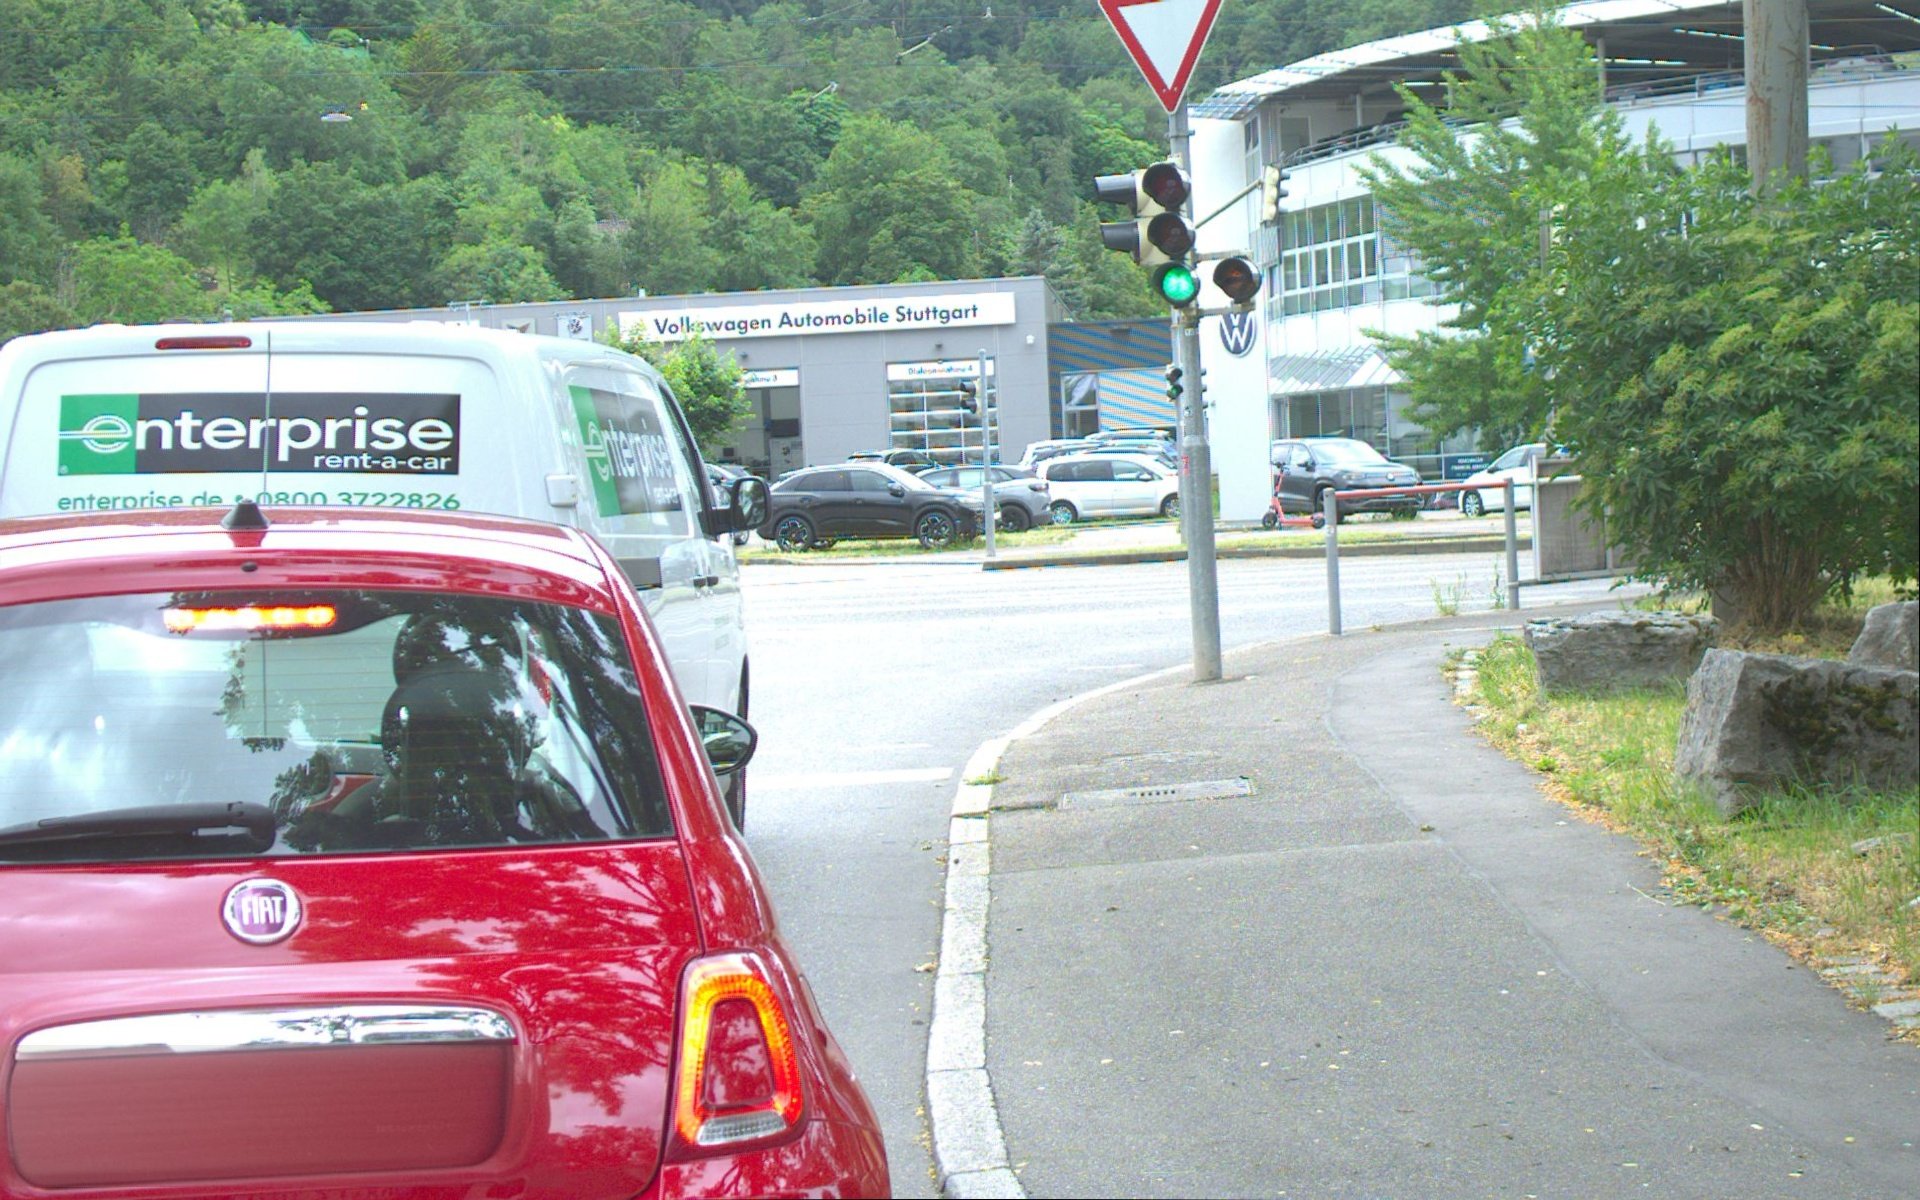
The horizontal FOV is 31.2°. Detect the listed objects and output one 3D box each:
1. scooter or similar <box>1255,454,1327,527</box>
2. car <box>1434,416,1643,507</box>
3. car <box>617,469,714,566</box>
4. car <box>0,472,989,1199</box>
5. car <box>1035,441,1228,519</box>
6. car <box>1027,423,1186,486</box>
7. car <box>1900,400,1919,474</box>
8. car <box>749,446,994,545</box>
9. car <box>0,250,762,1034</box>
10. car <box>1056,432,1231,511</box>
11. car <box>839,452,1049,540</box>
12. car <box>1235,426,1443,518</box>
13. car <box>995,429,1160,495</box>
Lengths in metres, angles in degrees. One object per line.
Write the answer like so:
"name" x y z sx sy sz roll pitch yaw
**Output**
"scooter or similar" 6.014 -1.984 62.486 1.200 1.283 0.575 1 0 -5
"car" 11.235 -2.671 67.041 1.993 1.634 4.001 1 1 -27
"car" -6.747 -1.857 79.171 1.993 2.007 5.018 -3 0 -4
"car" -1.225 0.552 5.860 1.697 1.520 4.002 1 2 -12
"car" 4.028 -2.830 81.316 4.496 1.723 2.000 1 0 1
"car" 4.273 -4.245 100.661 4.495 1.723 2.000 1 0 -1
"car" 21.575 -3.448 70.964 1.921 1.548 4.001 -4 3 -27
"car" -1.564 -1.890 61.518 3.989 1.634 1.999 1 5 13
"car" -1.859 -0.025 11.404 1.998 2.033 4.832 1 3 1
"car" 4.835 -3.398 91.176 4.495 1.990 2.000 1 0 -1
"car" -0.350 -2.103 70.053 3.986 1.700 2.001 1 0 -9
"car" 7.155 -2.414 65.239 1.993 1.634 4.001 -2 2 -27
"car" 3.275 -3.850 96.324 4.495 1.723 2.000 1 0 -1
